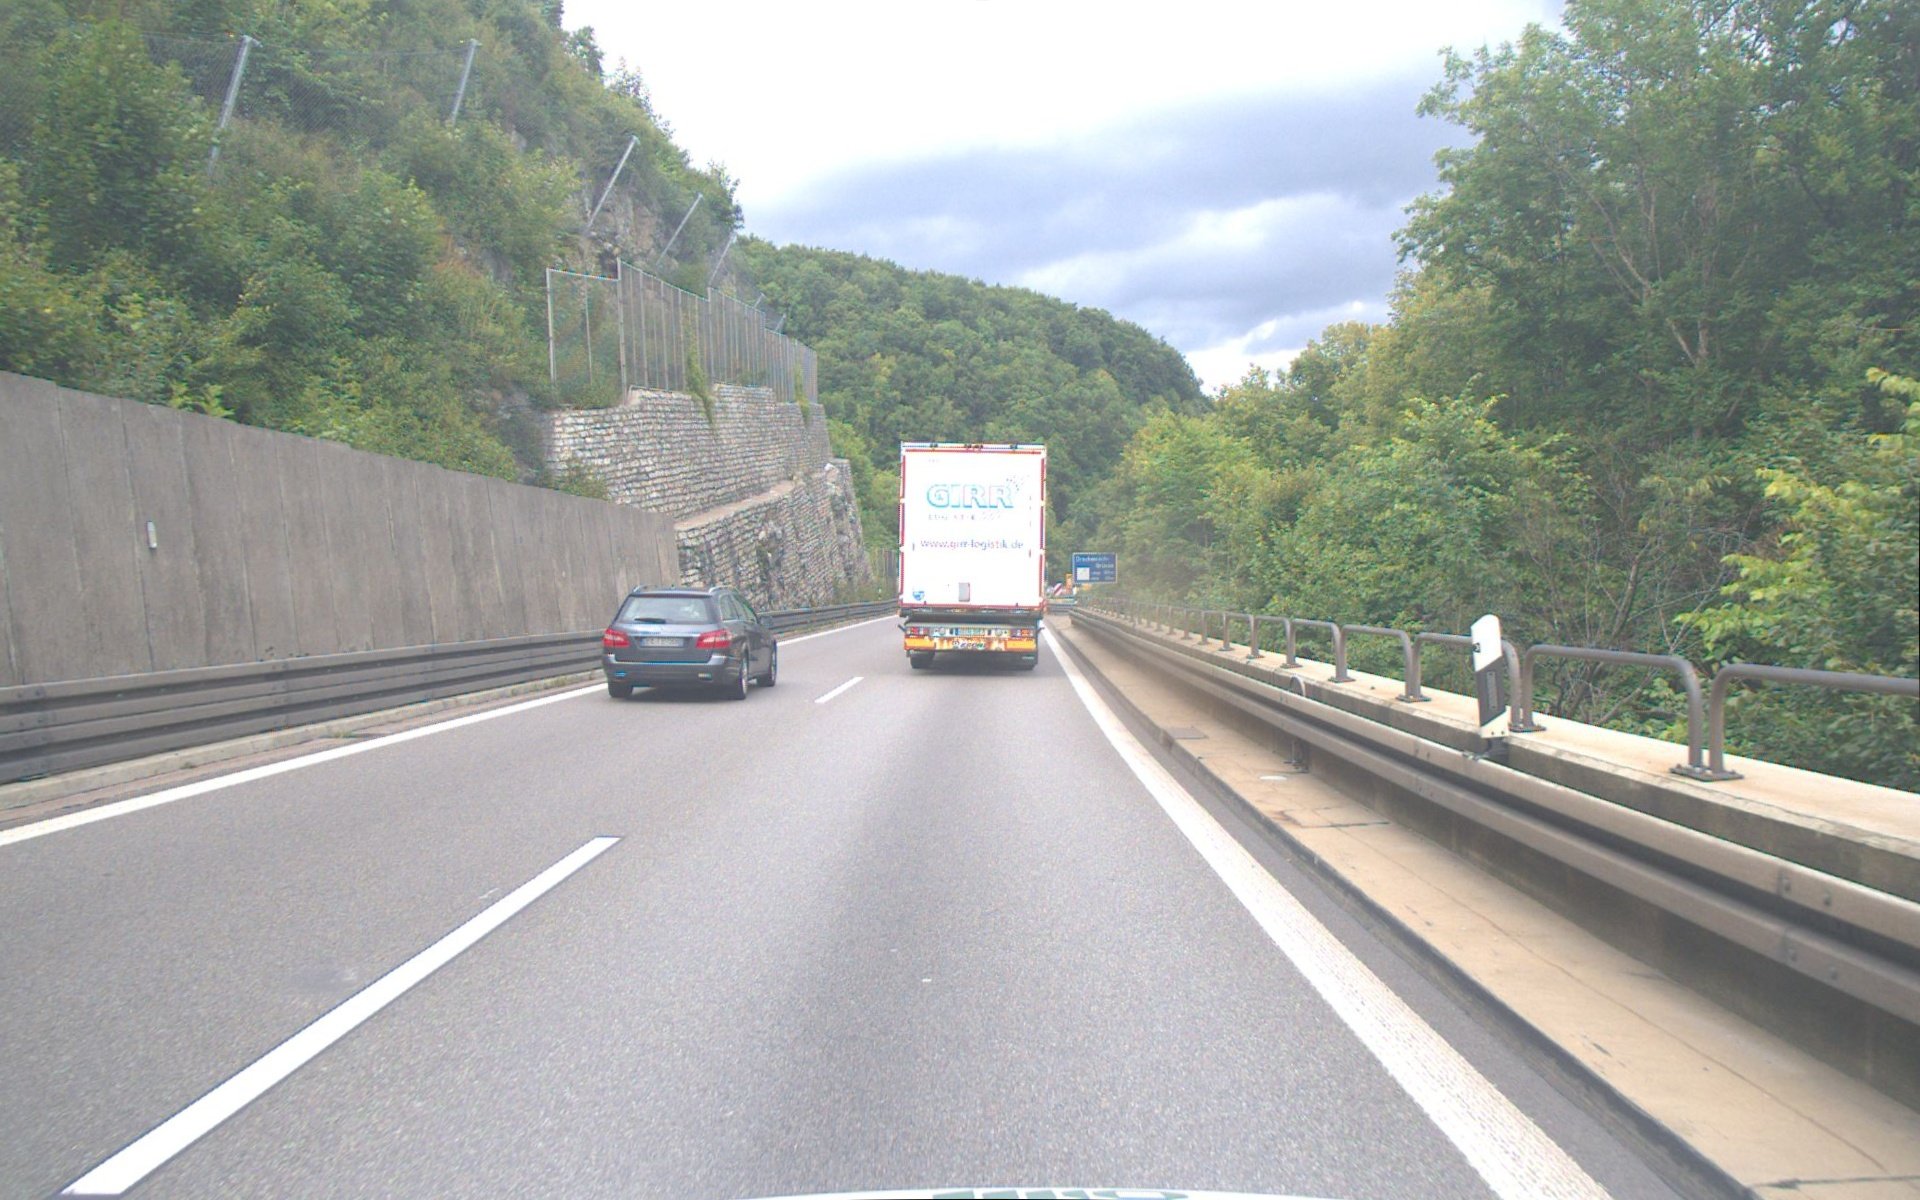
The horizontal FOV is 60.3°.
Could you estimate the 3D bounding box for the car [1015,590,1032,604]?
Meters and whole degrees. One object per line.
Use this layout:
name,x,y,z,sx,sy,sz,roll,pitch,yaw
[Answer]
car,8.289,-0.394,214.946,1.951,1.795,4.003,0,0,6

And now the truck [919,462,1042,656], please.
truck,0.573,-0.931,40.729,2.755,4.378,6.260,0,0,2

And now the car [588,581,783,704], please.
car,-3.698,0.539,23.053,1.844,1.536,4.419,0,0,2

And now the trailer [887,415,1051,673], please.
trailer,0.369,-0.940,34.266,2.755,4.378,12.248,0,0,2
